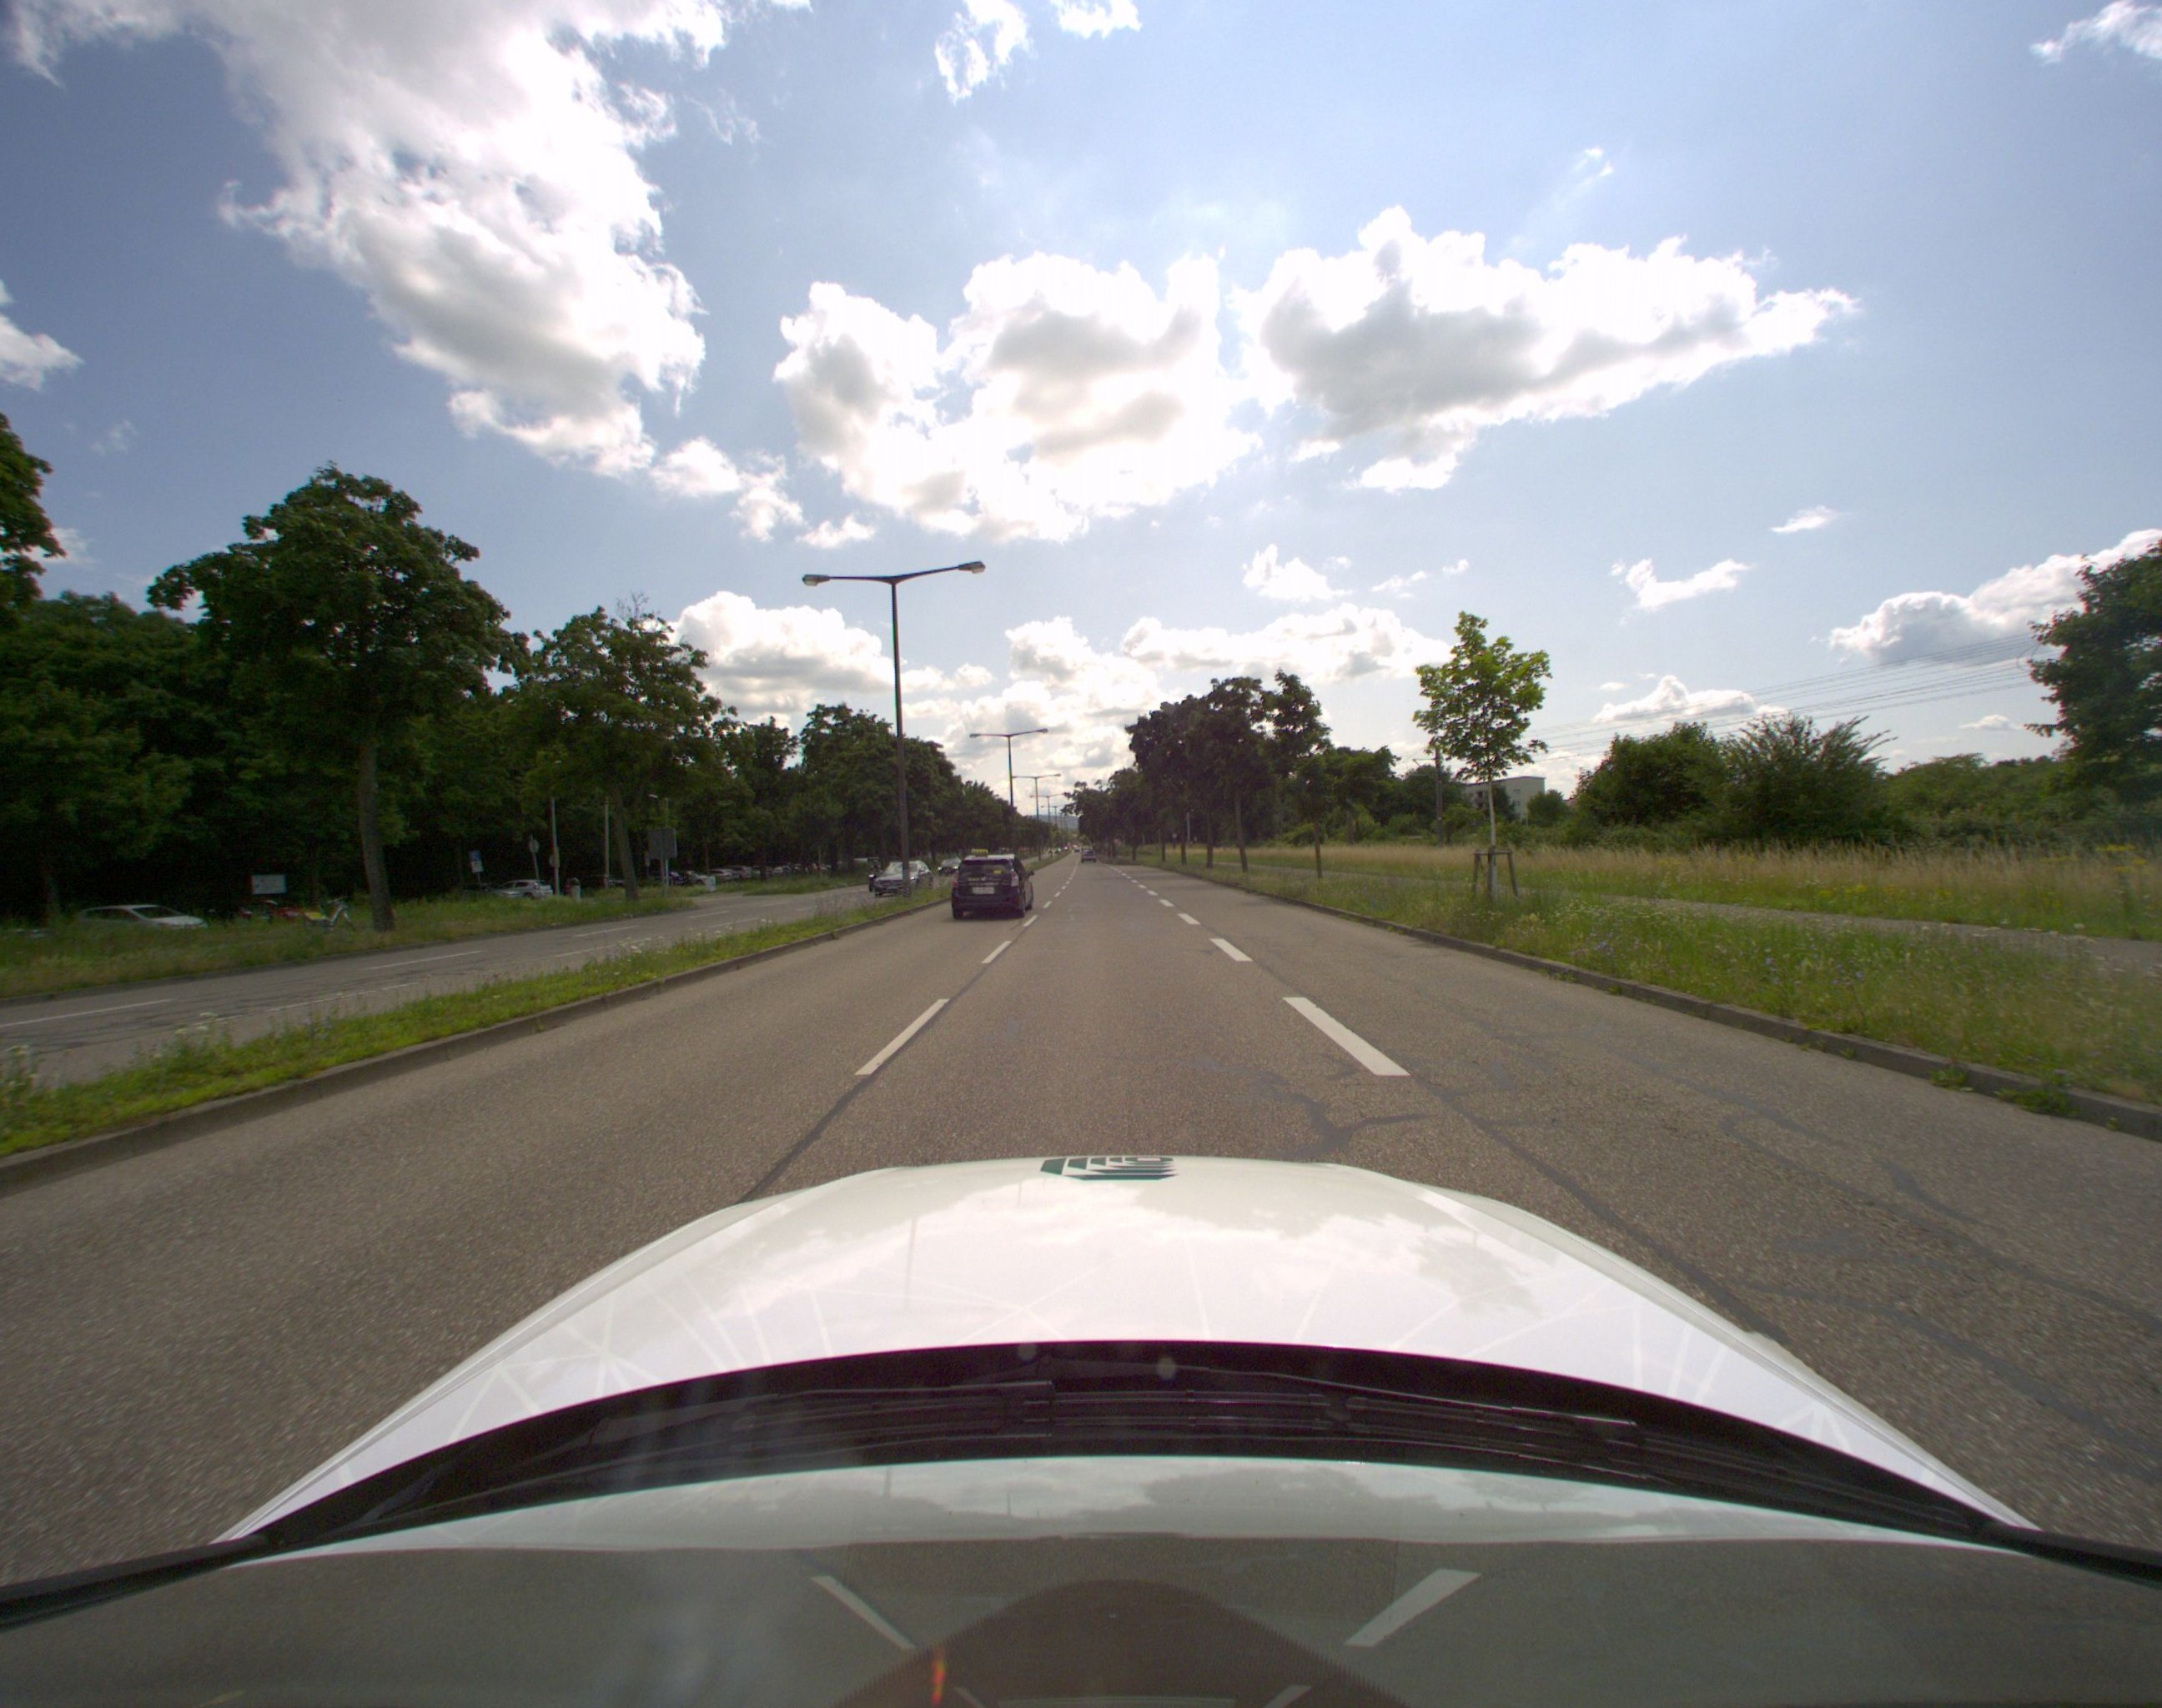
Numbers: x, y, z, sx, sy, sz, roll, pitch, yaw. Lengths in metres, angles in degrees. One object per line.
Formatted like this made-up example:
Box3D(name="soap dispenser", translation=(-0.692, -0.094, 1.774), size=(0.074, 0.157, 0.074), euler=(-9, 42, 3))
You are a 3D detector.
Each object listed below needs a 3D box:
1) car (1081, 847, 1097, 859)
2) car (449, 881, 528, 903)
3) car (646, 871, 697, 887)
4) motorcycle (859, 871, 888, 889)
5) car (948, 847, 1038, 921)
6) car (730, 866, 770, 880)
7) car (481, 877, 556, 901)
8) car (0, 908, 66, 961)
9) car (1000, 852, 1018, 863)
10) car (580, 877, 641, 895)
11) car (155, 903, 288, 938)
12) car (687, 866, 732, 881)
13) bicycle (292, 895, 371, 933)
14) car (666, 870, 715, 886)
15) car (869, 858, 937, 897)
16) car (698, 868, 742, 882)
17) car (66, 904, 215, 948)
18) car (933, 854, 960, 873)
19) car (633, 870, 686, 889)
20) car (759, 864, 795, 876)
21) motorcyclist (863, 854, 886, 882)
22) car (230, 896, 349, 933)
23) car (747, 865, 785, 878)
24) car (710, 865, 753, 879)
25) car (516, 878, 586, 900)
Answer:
Box3D(name="car", translation=(1.029, -0.097, 108.230), size=(1.987, 1.508, 3.999), euler=(-1, 1, -1))
Box3D(name="car", translation=(-38.000, 2.443, 52.312), size=(3.770, 1.247, 1.787), euler=(-1, 1, 2))
Box3D(name="car", translation=(-37.849, 2.309, 75.235), size=(3.767, 1.387, 1.788), euler=(-1, 1, 4))
Box3D(name="motorcycle", translation=(-10.728, 1.343, 42.210), size=(0.749, 0.772, 2.673), euler=(-1, 1, 2))
Box3D(name="car", translation=(-2.182, 0.687, 21.141), size=(1.773, 1.684, 4.002), euler=(-1, 1, 1))
Box3D(name="car", translation=(-37.225, 2.113, 91.669), size=(3.767, 1.387, 1.788), euler=(-1, 1, 4))
Box3D(name="car", translation=(-37.835, 2.332, 54.807), size=(3.772, 1.428, 1.786), euler=(-1, 1, 0))
Box3D(name="car", translation=(-36.606, 2.682, 26.837), size=(3.976, 1.558, 1.694), euler=(-1, 1, -2))
Box3D(name="car", translation=(-10.027, 0.485, 113.697), size=(1.871, 1.508, 3.802), euler=(-1, 1, 4))
Box3D(name="car", translation=(-37.600, 2.552, 65.103), size=(3.772, 1.247, 1.786), euler=(-1, 1, 0))
Box3D(name="car", translation=(-36.485, 2.803, 34.637), size=(3.770, 1.267, 1.787), euler=(-1, 1, 2))
Box3D(name="car", translation=(-37.626, 2.009, 82.510), size=(3.767, 1.387, 1.788), euler=(-1, 1, 4))
Box3D(name="bicycle", translation=(-22.607, 1.796, 24.608), size=(0.565, 0.978, 1.918), euler=(-3, 0, 1))
Box3D(name="car", translation=(-37.518, 2.303, 78.234), size=(3.767, 1.387, 1.788), euler=(-1, 1, 4))
Box3D(name="car", translation=(-7.673, 0.970, 35.597), size=(1.804, 1.398, 4.735), euler=(-2, 1, 1))
Box3D(name="car", translation=(-37.600, 2.186, 84.805), size=(3.766, 1.387, 1.789), euler=(-1, 1, 6))
Box3D(name="car", translation=(-36.686, 2.792, 31.819), size=(3.770, 1.508, 1.787), euler=(-1, 1, 2))
Box3D(name="car", translation=(-11.166, 0.736, 67.819), size=(1.750, 1.459, 4.465), euler=(-1, 1, -3))
Box3D(name="car", translation=(-37.603, 2.278, 72.667), size=(3.767, 1.568, 1.788), euler=(-1, 1, 4))
Box3D(name="car", translation=(-37.473, 1.991, 100.369), size=(3.767, 1.387, 1.788), euler=(-1, 1, 4))
Box3D(name="motorcyclist", translation=(-10.731, 0.726, 42.351), size=(0.824, 1.414, 1.329), euler=(-1, 1, 1))
Box3D(name="car", translation=(-36.496, 2.780, 37.605), size=(3.770, 1.508, 1.787), euler=(-1, 1, 2))
Box3D(name="car", translation=(-37.351, 2.034, 96.519), size=(3.767, 1.387, 1.788), euler=(-1, 1, 4))
Box3D(name="car", translation=(-37.749, 1.978, 88.052), size=(3.767, 1.387, 1.788), euler=(-1, 1, 4))
Box3D(name="car", translation=(-37.599, 2.448, 57.856), size=(3.772, 1.386, 1.786), euler=(-1, 1, 0))
